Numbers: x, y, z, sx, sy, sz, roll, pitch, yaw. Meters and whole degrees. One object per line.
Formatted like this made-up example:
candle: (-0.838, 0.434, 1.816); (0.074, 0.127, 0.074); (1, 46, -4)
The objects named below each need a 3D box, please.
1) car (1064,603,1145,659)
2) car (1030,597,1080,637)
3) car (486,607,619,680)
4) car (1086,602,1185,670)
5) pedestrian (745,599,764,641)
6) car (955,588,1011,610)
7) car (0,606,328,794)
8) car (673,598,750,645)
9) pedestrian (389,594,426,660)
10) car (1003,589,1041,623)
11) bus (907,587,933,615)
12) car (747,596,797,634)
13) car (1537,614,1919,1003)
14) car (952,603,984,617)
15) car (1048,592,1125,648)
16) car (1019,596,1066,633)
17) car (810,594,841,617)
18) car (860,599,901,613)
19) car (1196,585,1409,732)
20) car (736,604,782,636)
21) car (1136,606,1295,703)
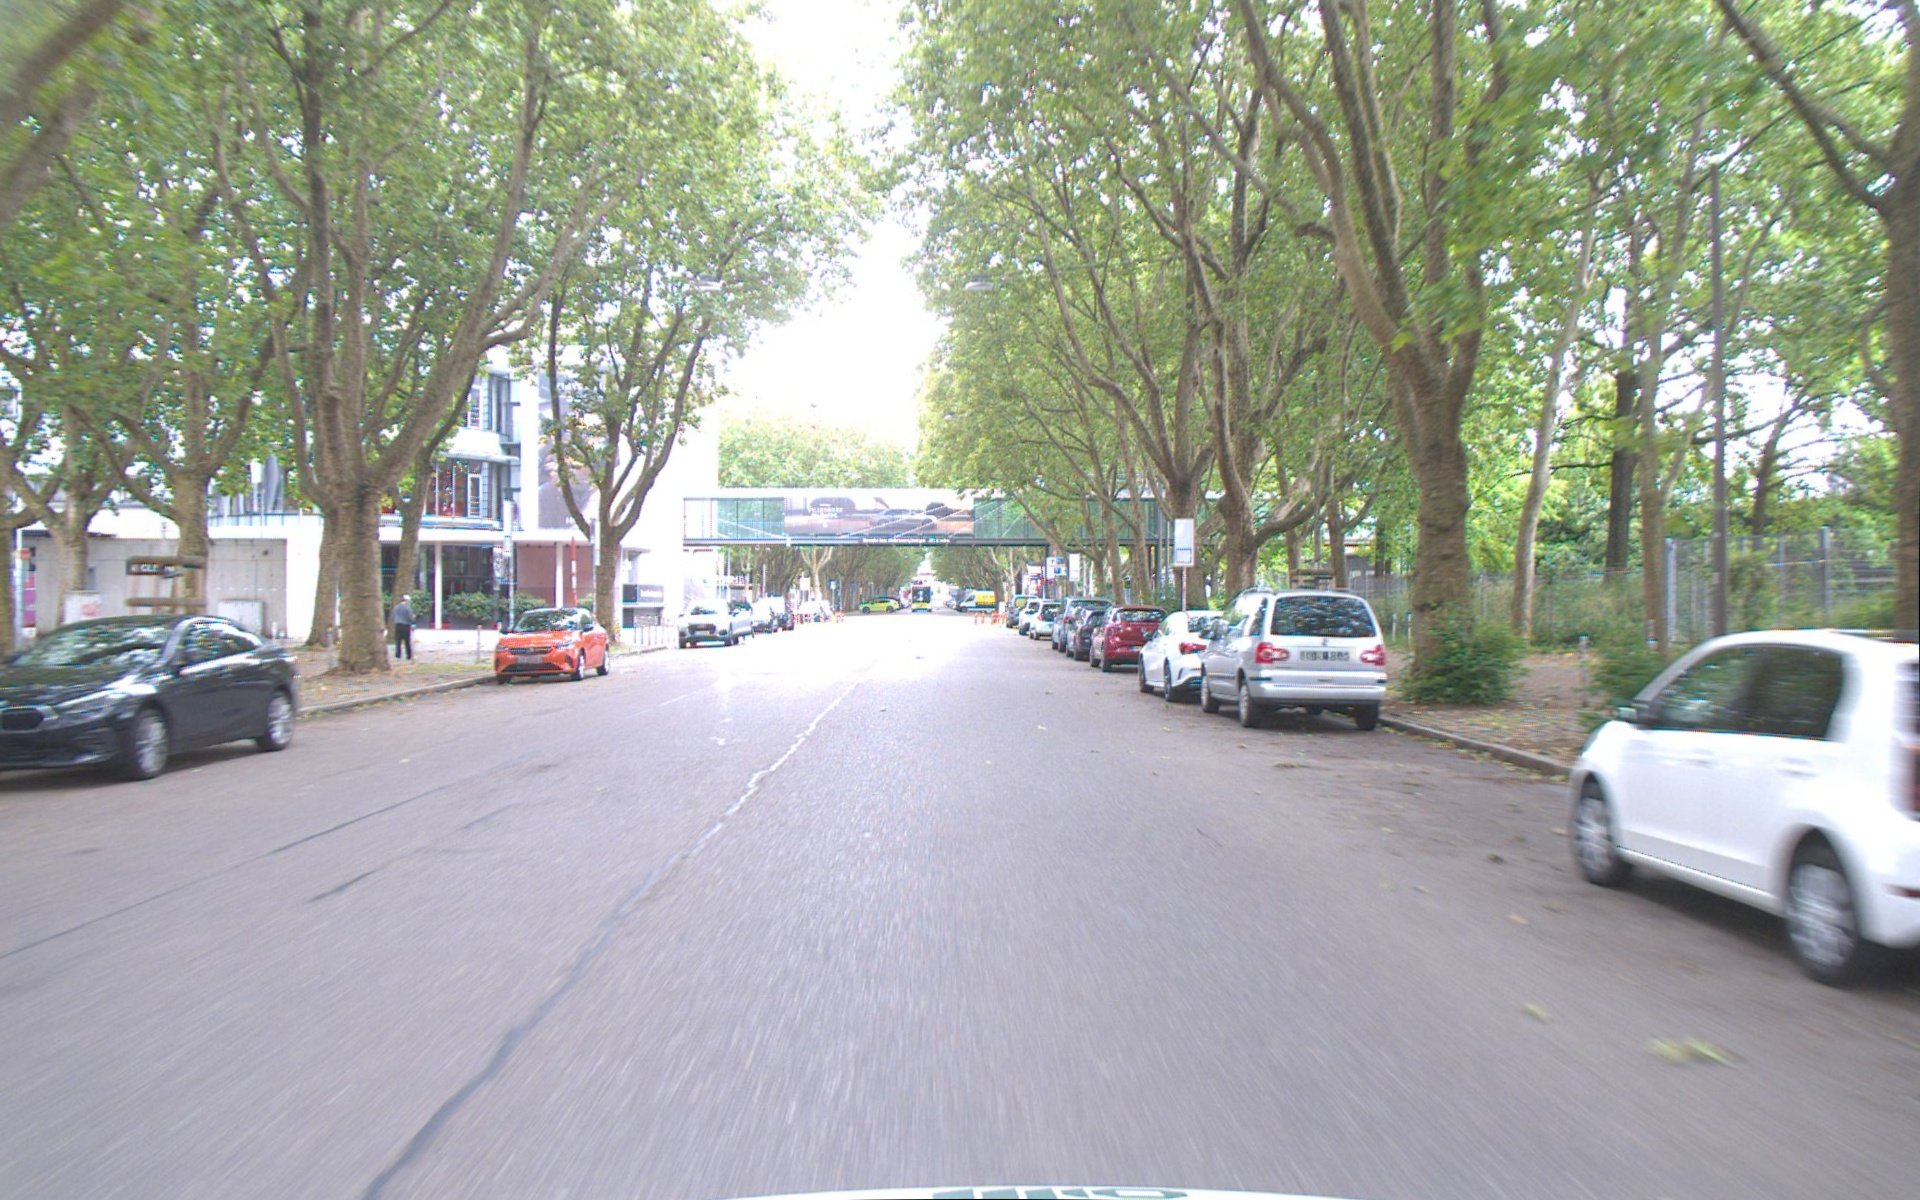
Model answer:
car: (3.917, 0.821, 45.513); (1.838, 1.452, 4.479); (0, 0, 0)
car: (3.813, 0.683, 66.881); (1.771, 1.553, 4.095); (0, 0, -1)
car: (-8.280, 0.847, 33.942); (1.771, 1.378, 4.000); (0, 0, -1)
car: (4.063, 0.809, 38.842); (1.819, 1.507, 4.176); (0, 0, -1)
pedestrian: (-7.375, 0.714, 59.405); (0.571, 1.492, 0.567); (1, 0, 2)
car: (2.751, -0.134, 201.534); (6.687, 2.557, 2.315); (0, 0, -3)
car: (-7.899, 0.838, 15.839); (1.789, 1.491, 4.628); (-1, 0, 1)
car: (-8.681, 0.717, 58.251); (2.031, 1.590, 4.755); (0, 0, -1)
pedestrian: (-14.018, 0.674, 41.982); (0.580, 1.648, 0.792); (0, 0, 8)
car: (3.378, 0.331, 90.972); (1.810, 1.814, 5.210); (1, 0, -1)
bus: (-4.837, 0.101, 201.422); (2.977, 3.215, 12.672); (-2, 0, -2)
car: (-9.738, 0.743, 86.198); (1.993, 1.820, 4.907); (-3, 0, -1)
car: (4.451, 0.839, 8.331); (1.673, 1.452, 3.888); (1, 0, -1)
car: (0.992, 1.236, 209.048); (3.906, 1.825, 1.542); (0, 0, -2)
car: (3.960, 0.623, 52.414); (1.941, 1.709, 4.730); (0, 0, -2)
car: (3.713, 0.649, 75.174); (1.875, 1.646, 4.748); (0, 0, -1)
car: (-10.160, 0.407, 124.806); (1.953, 1.612, 4.112); (-3, 0, -1)
car: (-9.193, 0.646, 191.459); (4.604, 1.612, 1.864); (0, 0, 0)
car: (4.454, 0.702, 22.193); (1.864, 1.769, 4.505); (0, 0, -1)
car: (-9.827, 0.961, 81.105); (1.670, 1.444, 4.324); (-3, 0, -1)
car: (4.142, 0.843, 27.516); (1.839, 1.452, 4.584); (0, 0, -2)
